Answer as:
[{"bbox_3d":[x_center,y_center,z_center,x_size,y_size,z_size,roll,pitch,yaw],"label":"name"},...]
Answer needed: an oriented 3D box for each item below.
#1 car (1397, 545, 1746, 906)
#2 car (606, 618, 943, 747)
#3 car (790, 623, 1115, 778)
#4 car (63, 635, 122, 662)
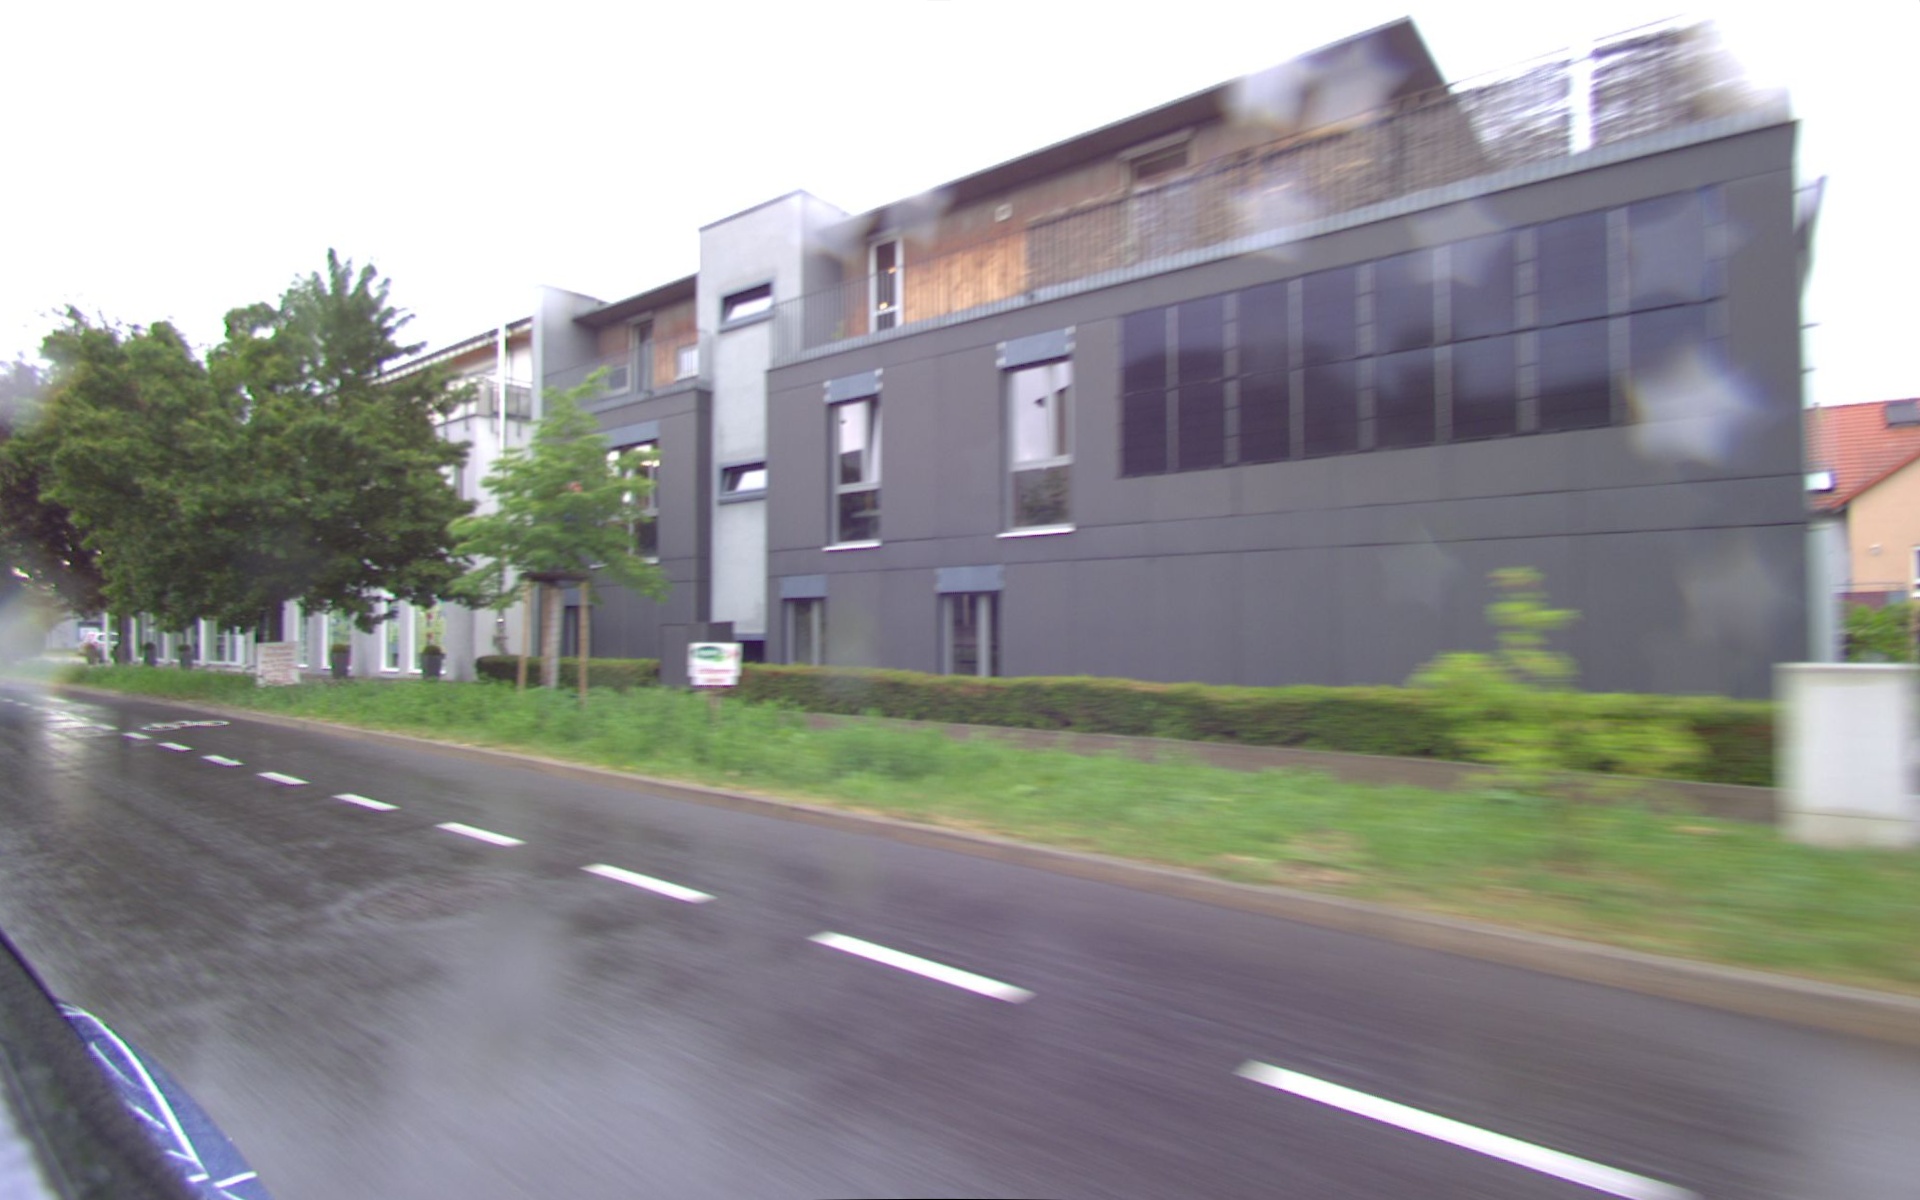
[{"bbox_3d":[3.536,0.561,5.641,1.252,1.466,2.879,1,-2,39],"label":"car"},{"bbox_3d":[-2.051,0.917,12.126,1.580,1.294,3.861,-1,-3,39],"label":"car"},{"bbox_3d":[0.039,0.832,9.247,1.470,1.168,2.879,-1,-3,39],"label":"car"},{"bbox_3d":[-66.773,3.750,77.864,5.592,1.836,2.017,-3,-2,33],"label":"car"}]
